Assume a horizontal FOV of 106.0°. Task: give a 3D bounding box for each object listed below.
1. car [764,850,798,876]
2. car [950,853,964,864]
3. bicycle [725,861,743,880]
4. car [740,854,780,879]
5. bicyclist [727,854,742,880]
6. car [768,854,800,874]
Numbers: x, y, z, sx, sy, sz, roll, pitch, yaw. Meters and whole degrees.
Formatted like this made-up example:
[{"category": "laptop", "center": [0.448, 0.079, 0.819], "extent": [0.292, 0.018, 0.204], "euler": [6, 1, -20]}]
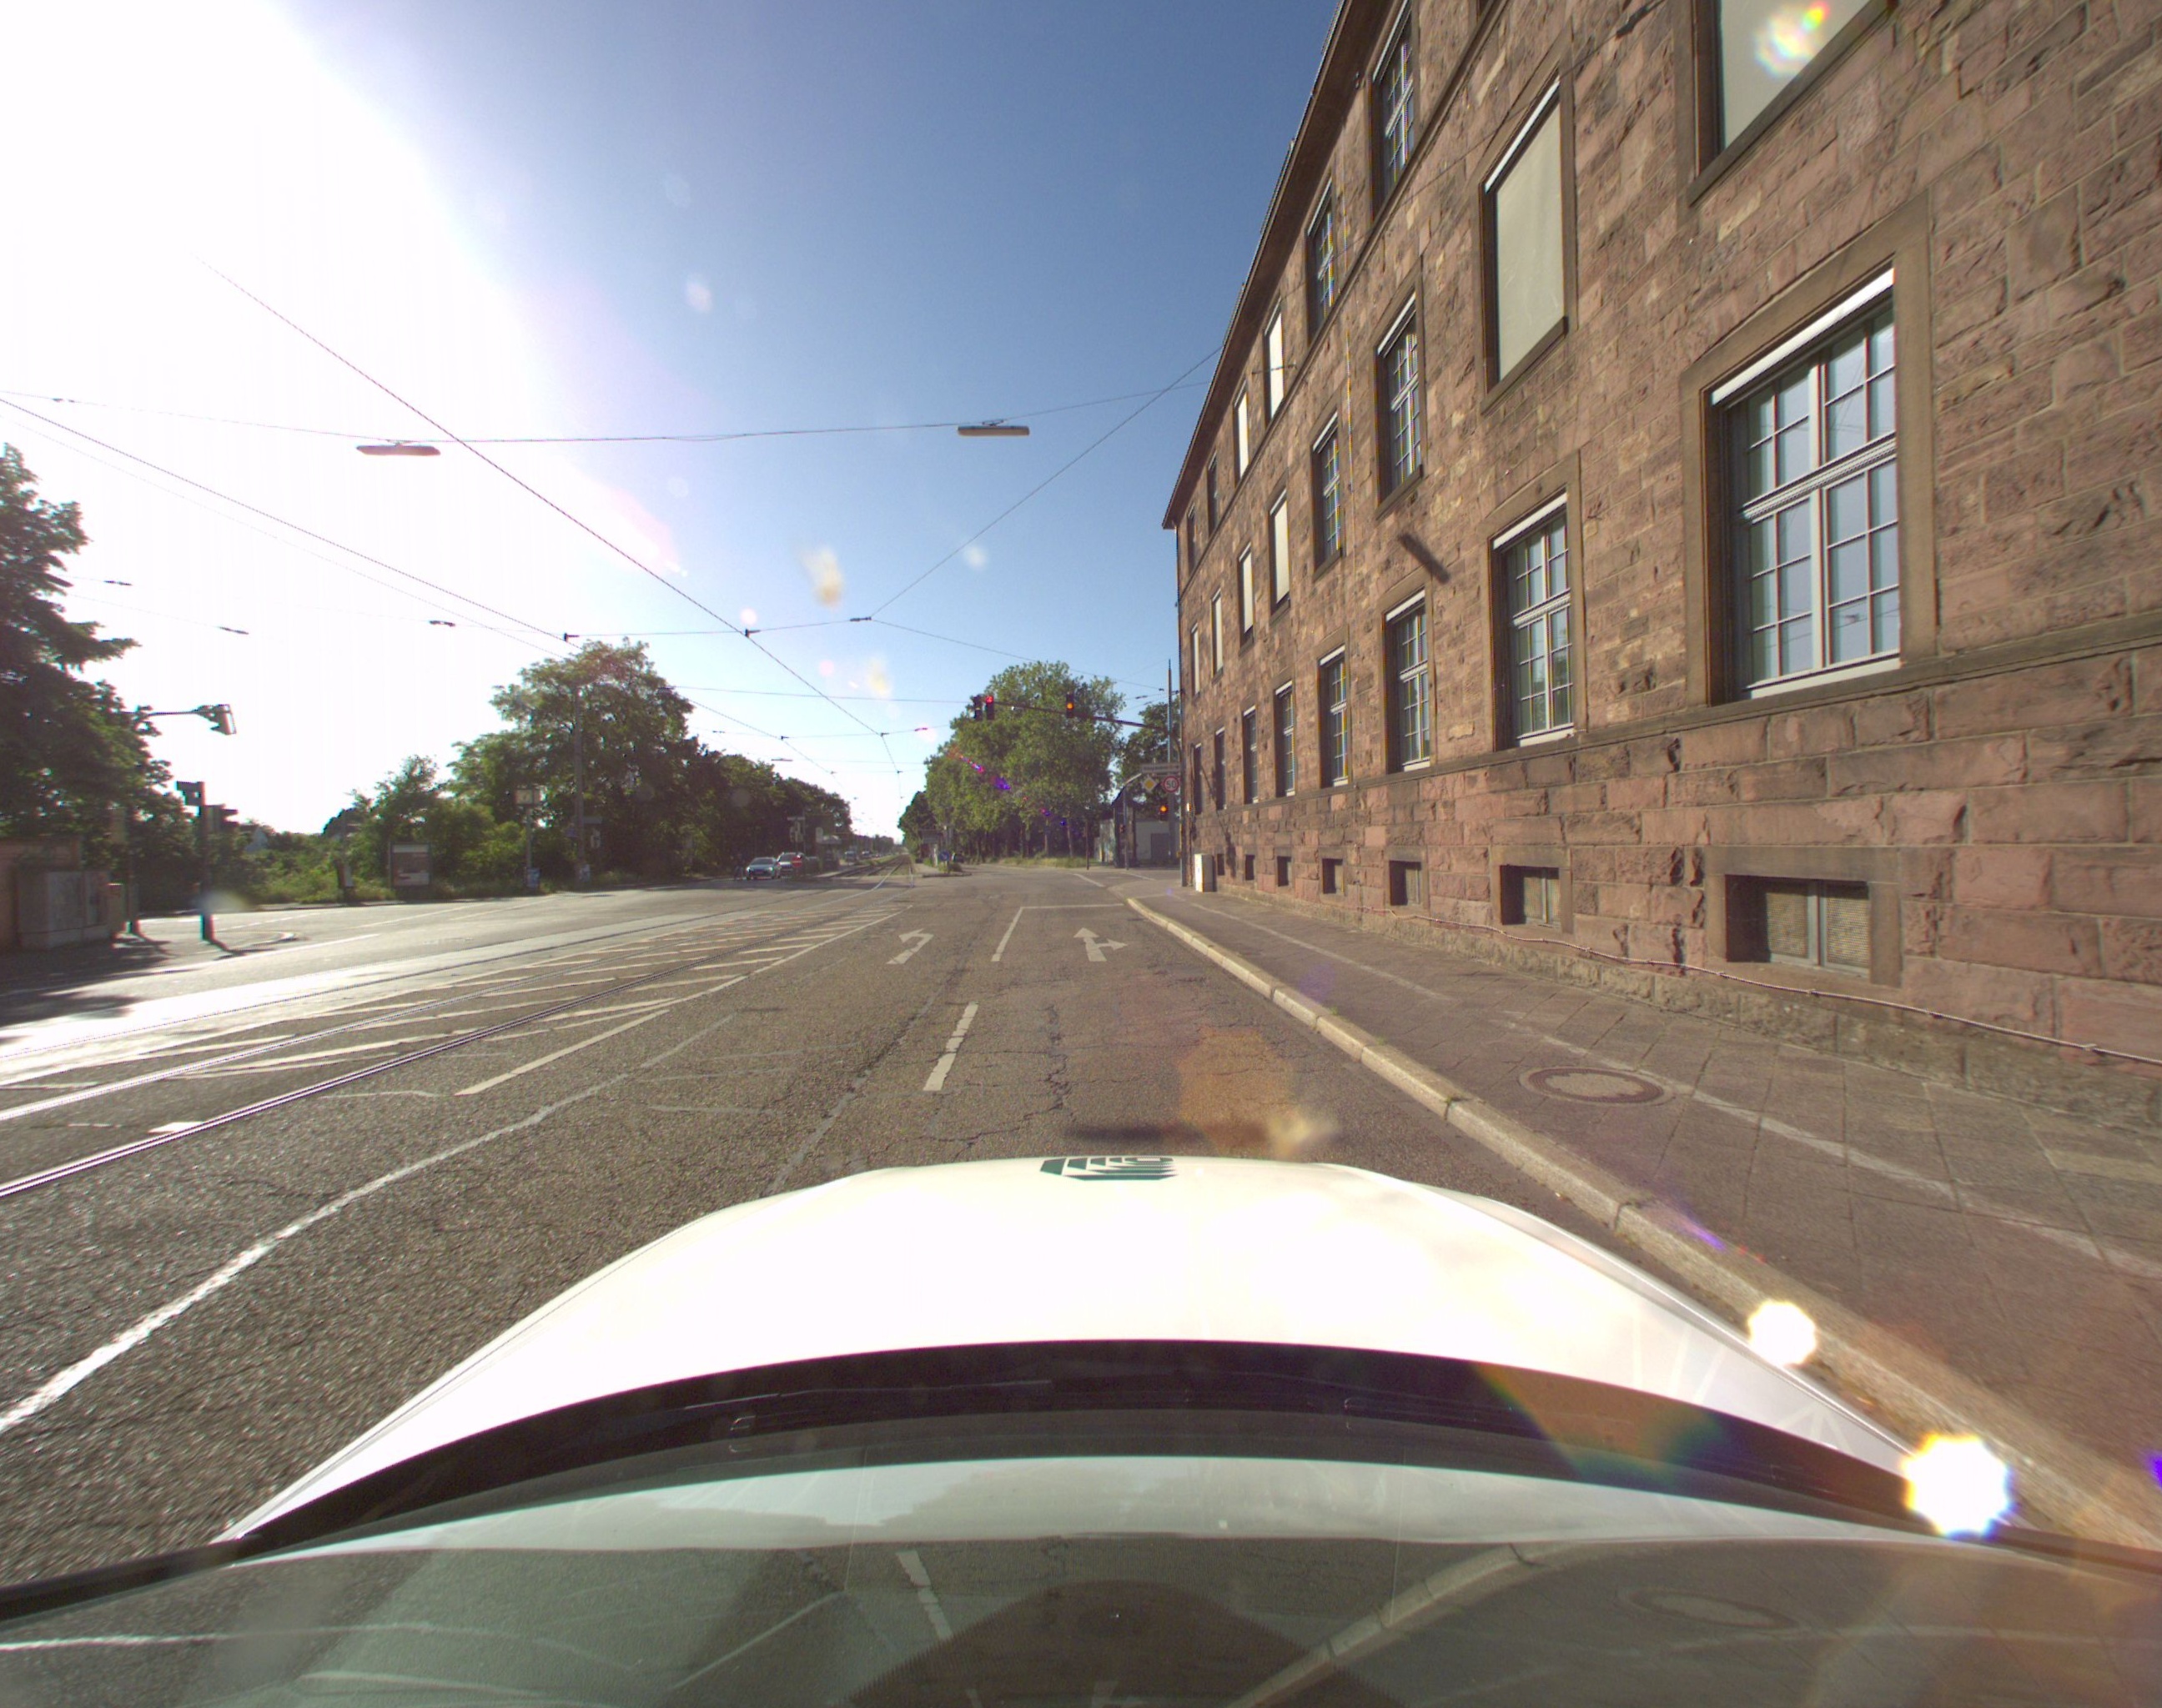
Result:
[{"category": "car", "center": [-21.969, 0.650, 59.770], "extent": [1.997, 1.760, 3.979], "euler": [-1, 0, -16]}, {"category": "car", "center": [-19.306, 0.638, 127.010], "extent": [1.941, 1.610, 3.990], "euler": [-1, 0, -8]}, {"category": "bicycle", "center": [-21.126, 0.995, 49.642], "extent": [0.751, 1.087, 2.164], "euler": [-1, 0, -17]}, {"category": "car", "center": [-21.007, 0.791, 53.398], "extent": [1.997, 1.504, 3.979], "euler": [-1, 0, -16]}, {"category": "bicyclist", "center": [-21.142, 0.783, 49.690], "extent": [0.751, 1.504, 0.958], "euler": [-1, 0, -18]}, {"category": "car", "center": [-23.501, 0.782, 64.525], "extent": [1.997, 1.504, 3.979], "euler": [-1, 0, -16]}]
